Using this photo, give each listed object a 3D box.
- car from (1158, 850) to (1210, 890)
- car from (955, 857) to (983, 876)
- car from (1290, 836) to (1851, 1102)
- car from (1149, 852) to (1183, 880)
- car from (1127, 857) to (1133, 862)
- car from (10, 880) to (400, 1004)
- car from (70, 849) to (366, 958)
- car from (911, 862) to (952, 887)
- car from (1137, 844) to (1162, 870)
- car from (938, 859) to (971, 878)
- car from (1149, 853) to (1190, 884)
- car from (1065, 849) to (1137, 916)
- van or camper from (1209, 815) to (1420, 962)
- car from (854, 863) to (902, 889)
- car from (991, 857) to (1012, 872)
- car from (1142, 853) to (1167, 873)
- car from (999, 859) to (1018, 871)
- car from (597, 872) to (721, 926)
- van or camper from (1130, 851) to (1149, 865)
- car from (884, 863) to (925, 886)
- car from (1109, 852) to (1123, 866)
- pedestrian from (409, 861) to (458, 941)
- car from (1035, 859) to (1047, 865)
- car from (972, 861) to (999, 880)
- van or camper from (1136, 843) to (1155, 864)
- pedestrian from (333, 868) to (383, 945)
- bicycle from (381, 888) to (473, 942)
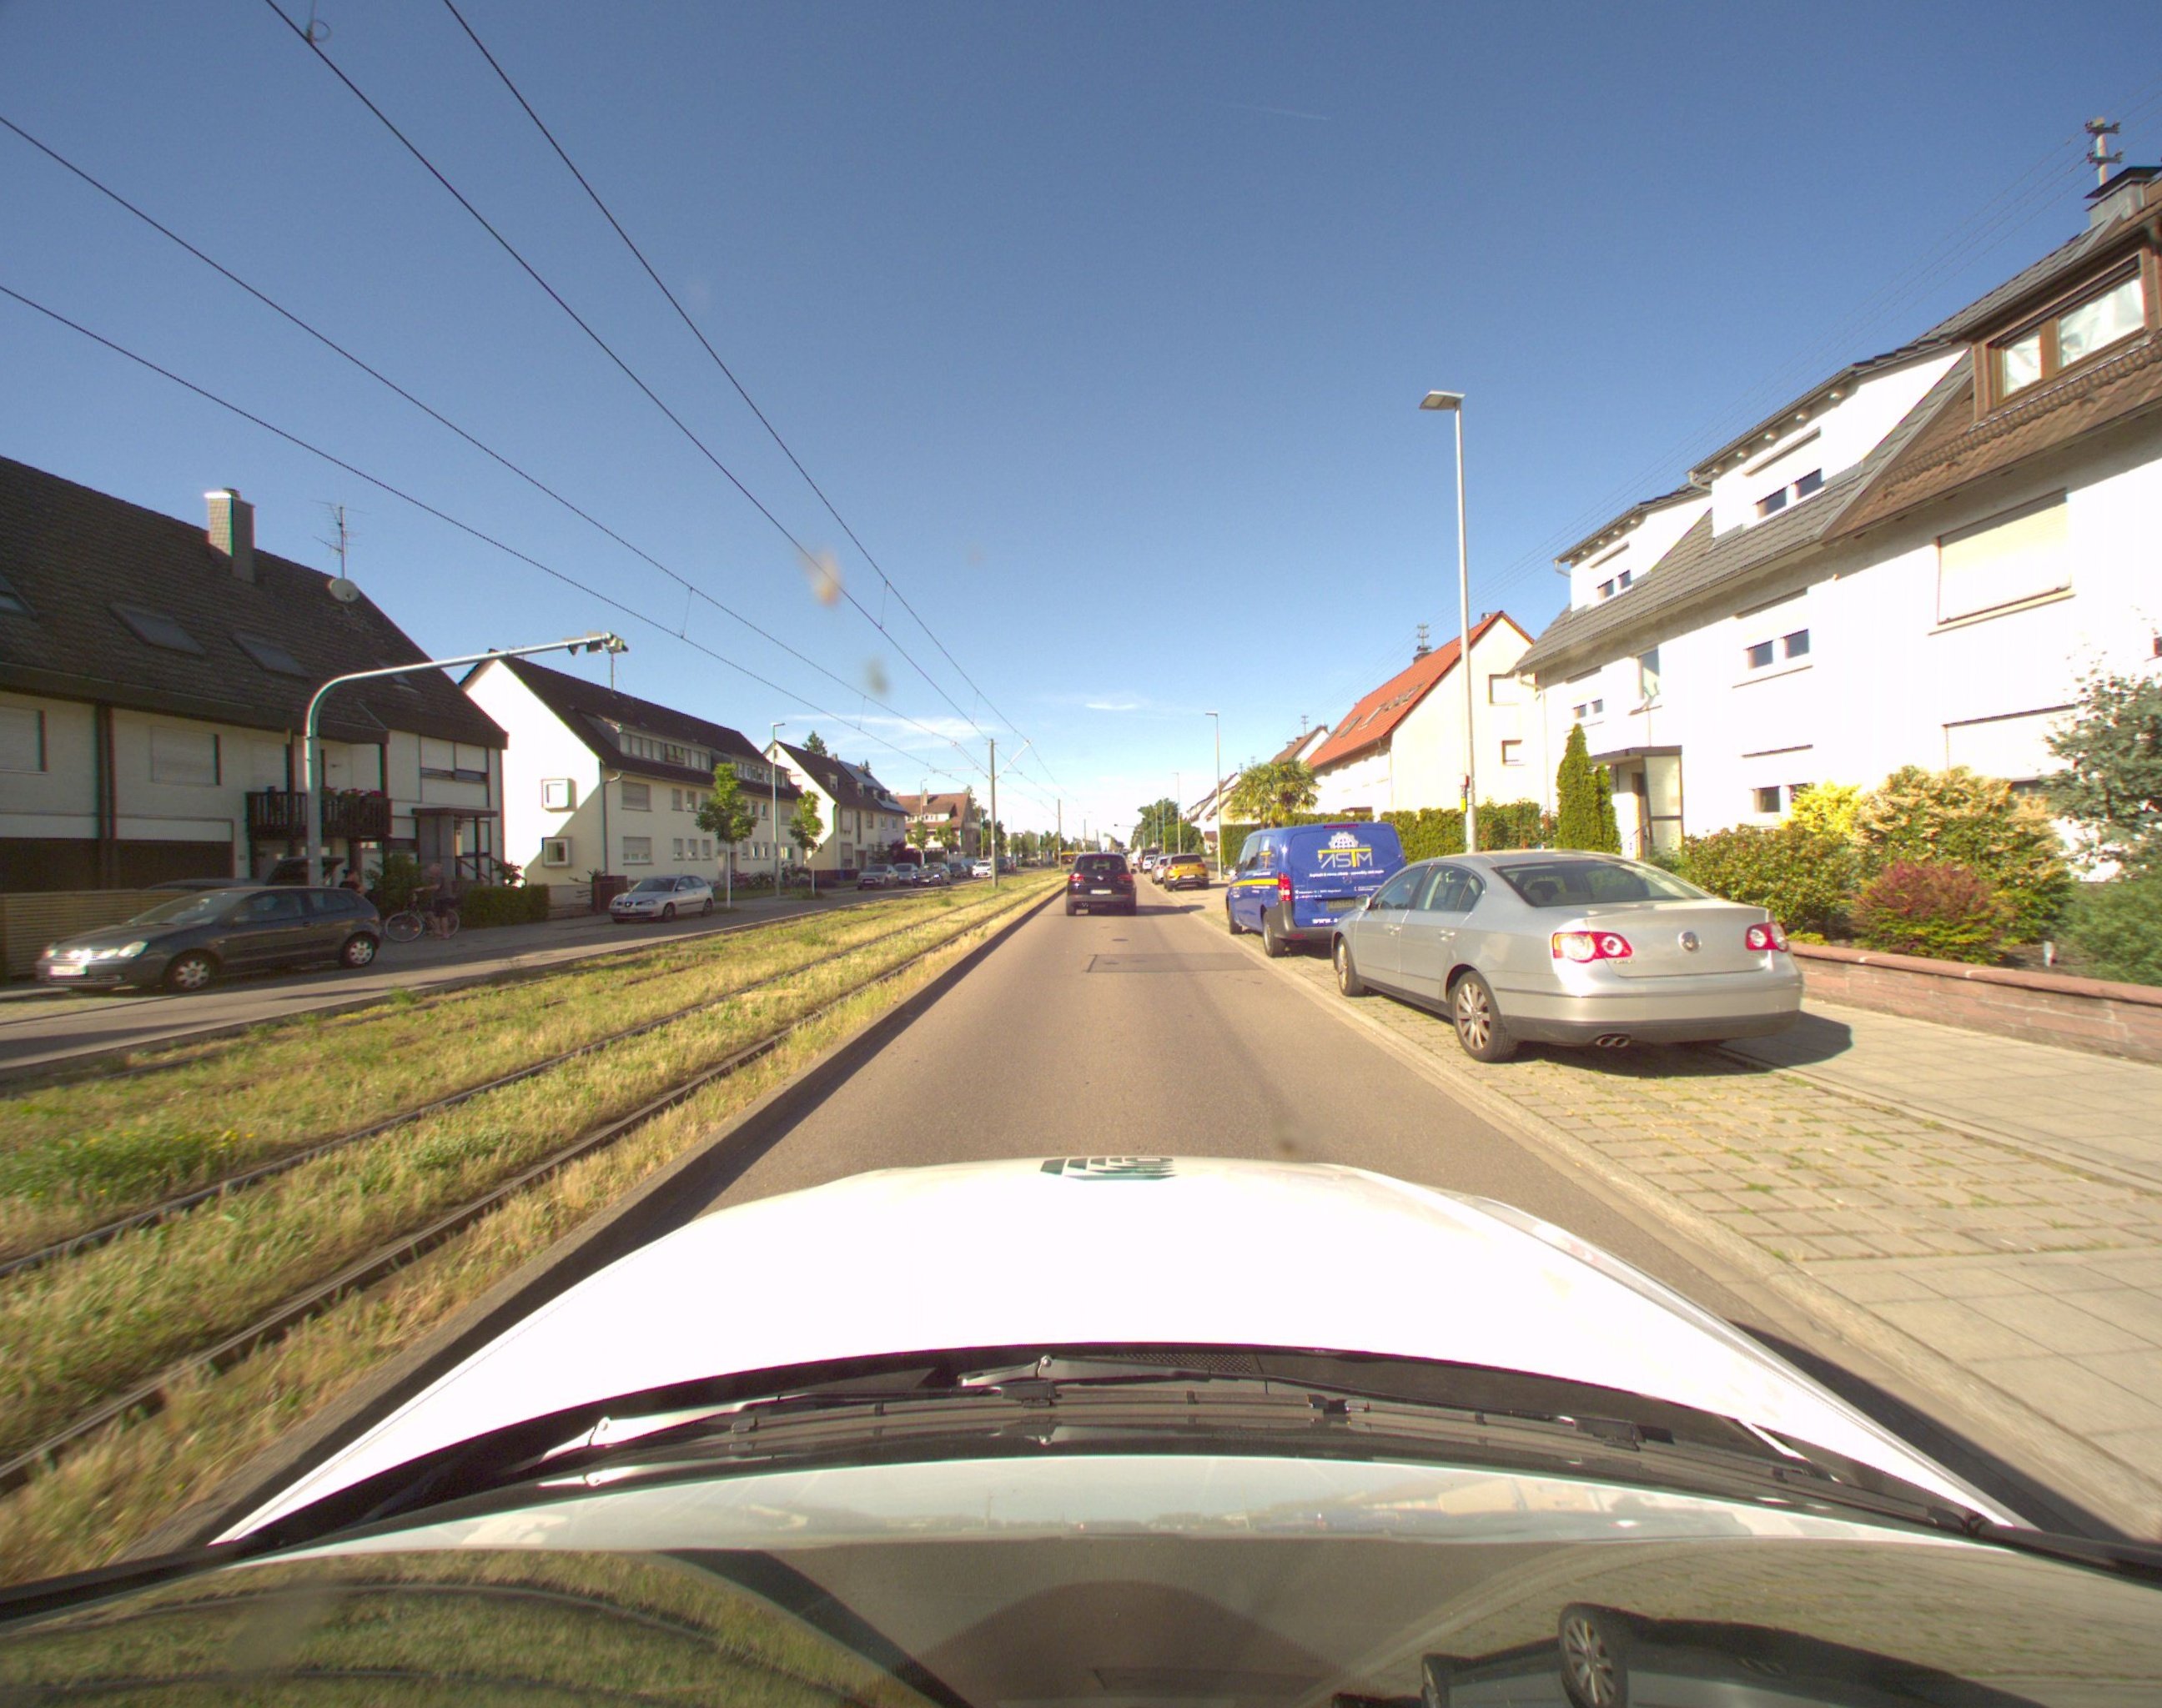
[{"bbox_3d":[4.464,0.658,35.971,1.798,1.559,4.929,-3,-1,2],"label":"car"},{"bbox_3d":[-10.574,1.155,77.233,1.738,1.823,4.845,0,0,3],"label":"car"},{"bbox_3d":[3.503,0.663,7.326,1.725,1.458,5.282,-2,0,-2],"label":"car"},{"bbox_3d":[5.067,0.686,48.987,1.769,1.498,4.733,-2,0,4],"label":"car"},{"bbox_3d":[15.638,1.796,258.935,1.769,1.670,4.001,-2,-1,1],"label":"car"},{"bbox_3d":[-13.369,1.241,12.877,1.612,1.512,4.088,0,0,3],"label":"car"},{"bbox_3d":[-18.311,1.008,17.426,4.442,2.080,1.788,1,-1,2],"label":"car"},{"bbox_3d":[-9.179,1.243,50.241,1.682,1.475,4.084,0,-1,1],"label":"car"},{"bbox_3d":[6.056,0.313,72.603,1.952,2.144,5.339,-3,-1,3],"label":"car"},{"bbox_3d":[-11.028,1.248,71.090,1.952,1.540,4.560,0,-1,3],"label":"car"},{"bbox_3d":[4.645,0.713,43.318,1.741,1.447,4.701,-3,1,2],"label":"car"},{"bbox_3d":[0.548,0.721,22.331,1.769,1.670,4.001,0,-1,1],"label":"car"},{"bbox_3d":[3.530,0.478,13.587,1.942,1.846,5.583,-3,-1,1],"label":"van or camper"},{"bbox_3d":[-12.116,1.311,48.925,1.682,1.473,4.316,0,-1,1],"label":"car"},{"bbox_3d":[-9.375,1.250,96.352,1.811,1.684,4.851,0,0,4],"label":"car"},{"bbox_3d":[5.873,0.693,65.838,1.844,1.443,5.620,-4,0,4],"label":"car"},{"bbox_3d":[-9.069,1.331,102.088,1.688,1.405,4.083,-2,0,4],"label":"car"},{"bbox_3d":[-13.143,1.357,25.673,1.652,1.436,4.104,-1,0,1],"label":"car"},{"bbox_3d":[8.385,0.542,115.766,2.015,1.956,5.311,-2,0,11],"label":"van or camper"},{"bbox_3d":[-11.848,1.333,54.920,1.682,1.475,4.444,0,-1,1],"label":"car"},{"bbox_3d":[4.858,0.696,112.581,1.623,1.828,4.128,-2,0,-1],"label":"car"},{"bbox_3d":[-15.140,1.083,19.067,0.614,1.815,0.677,0,-1,-7],"label":"pedestrian"},{"bbox_3d":[-8.981,1.789,182.285,1.800,1.461,4.326,0,-1,8],"label":"car"},{"bbox_3d":[-7.833,1.336,67.136,1.682,1.475,3.680,0,-1,1],"label":"car"},{"bbox_3d":[7.488,-0.043,95.106,1.985,2.271,6.310,-3,-1,3],"label":"van or camper"},{"bbox_3d":[-16.161,1.157,18.211,0.547,1.688,0.626,-1,-1,17],"label":"pedestrian"},{"bbox_3d":[-15.430,1.416,19.269,0.474,1.163,1.875,0,-1,8],"label":"bicycle"}]
